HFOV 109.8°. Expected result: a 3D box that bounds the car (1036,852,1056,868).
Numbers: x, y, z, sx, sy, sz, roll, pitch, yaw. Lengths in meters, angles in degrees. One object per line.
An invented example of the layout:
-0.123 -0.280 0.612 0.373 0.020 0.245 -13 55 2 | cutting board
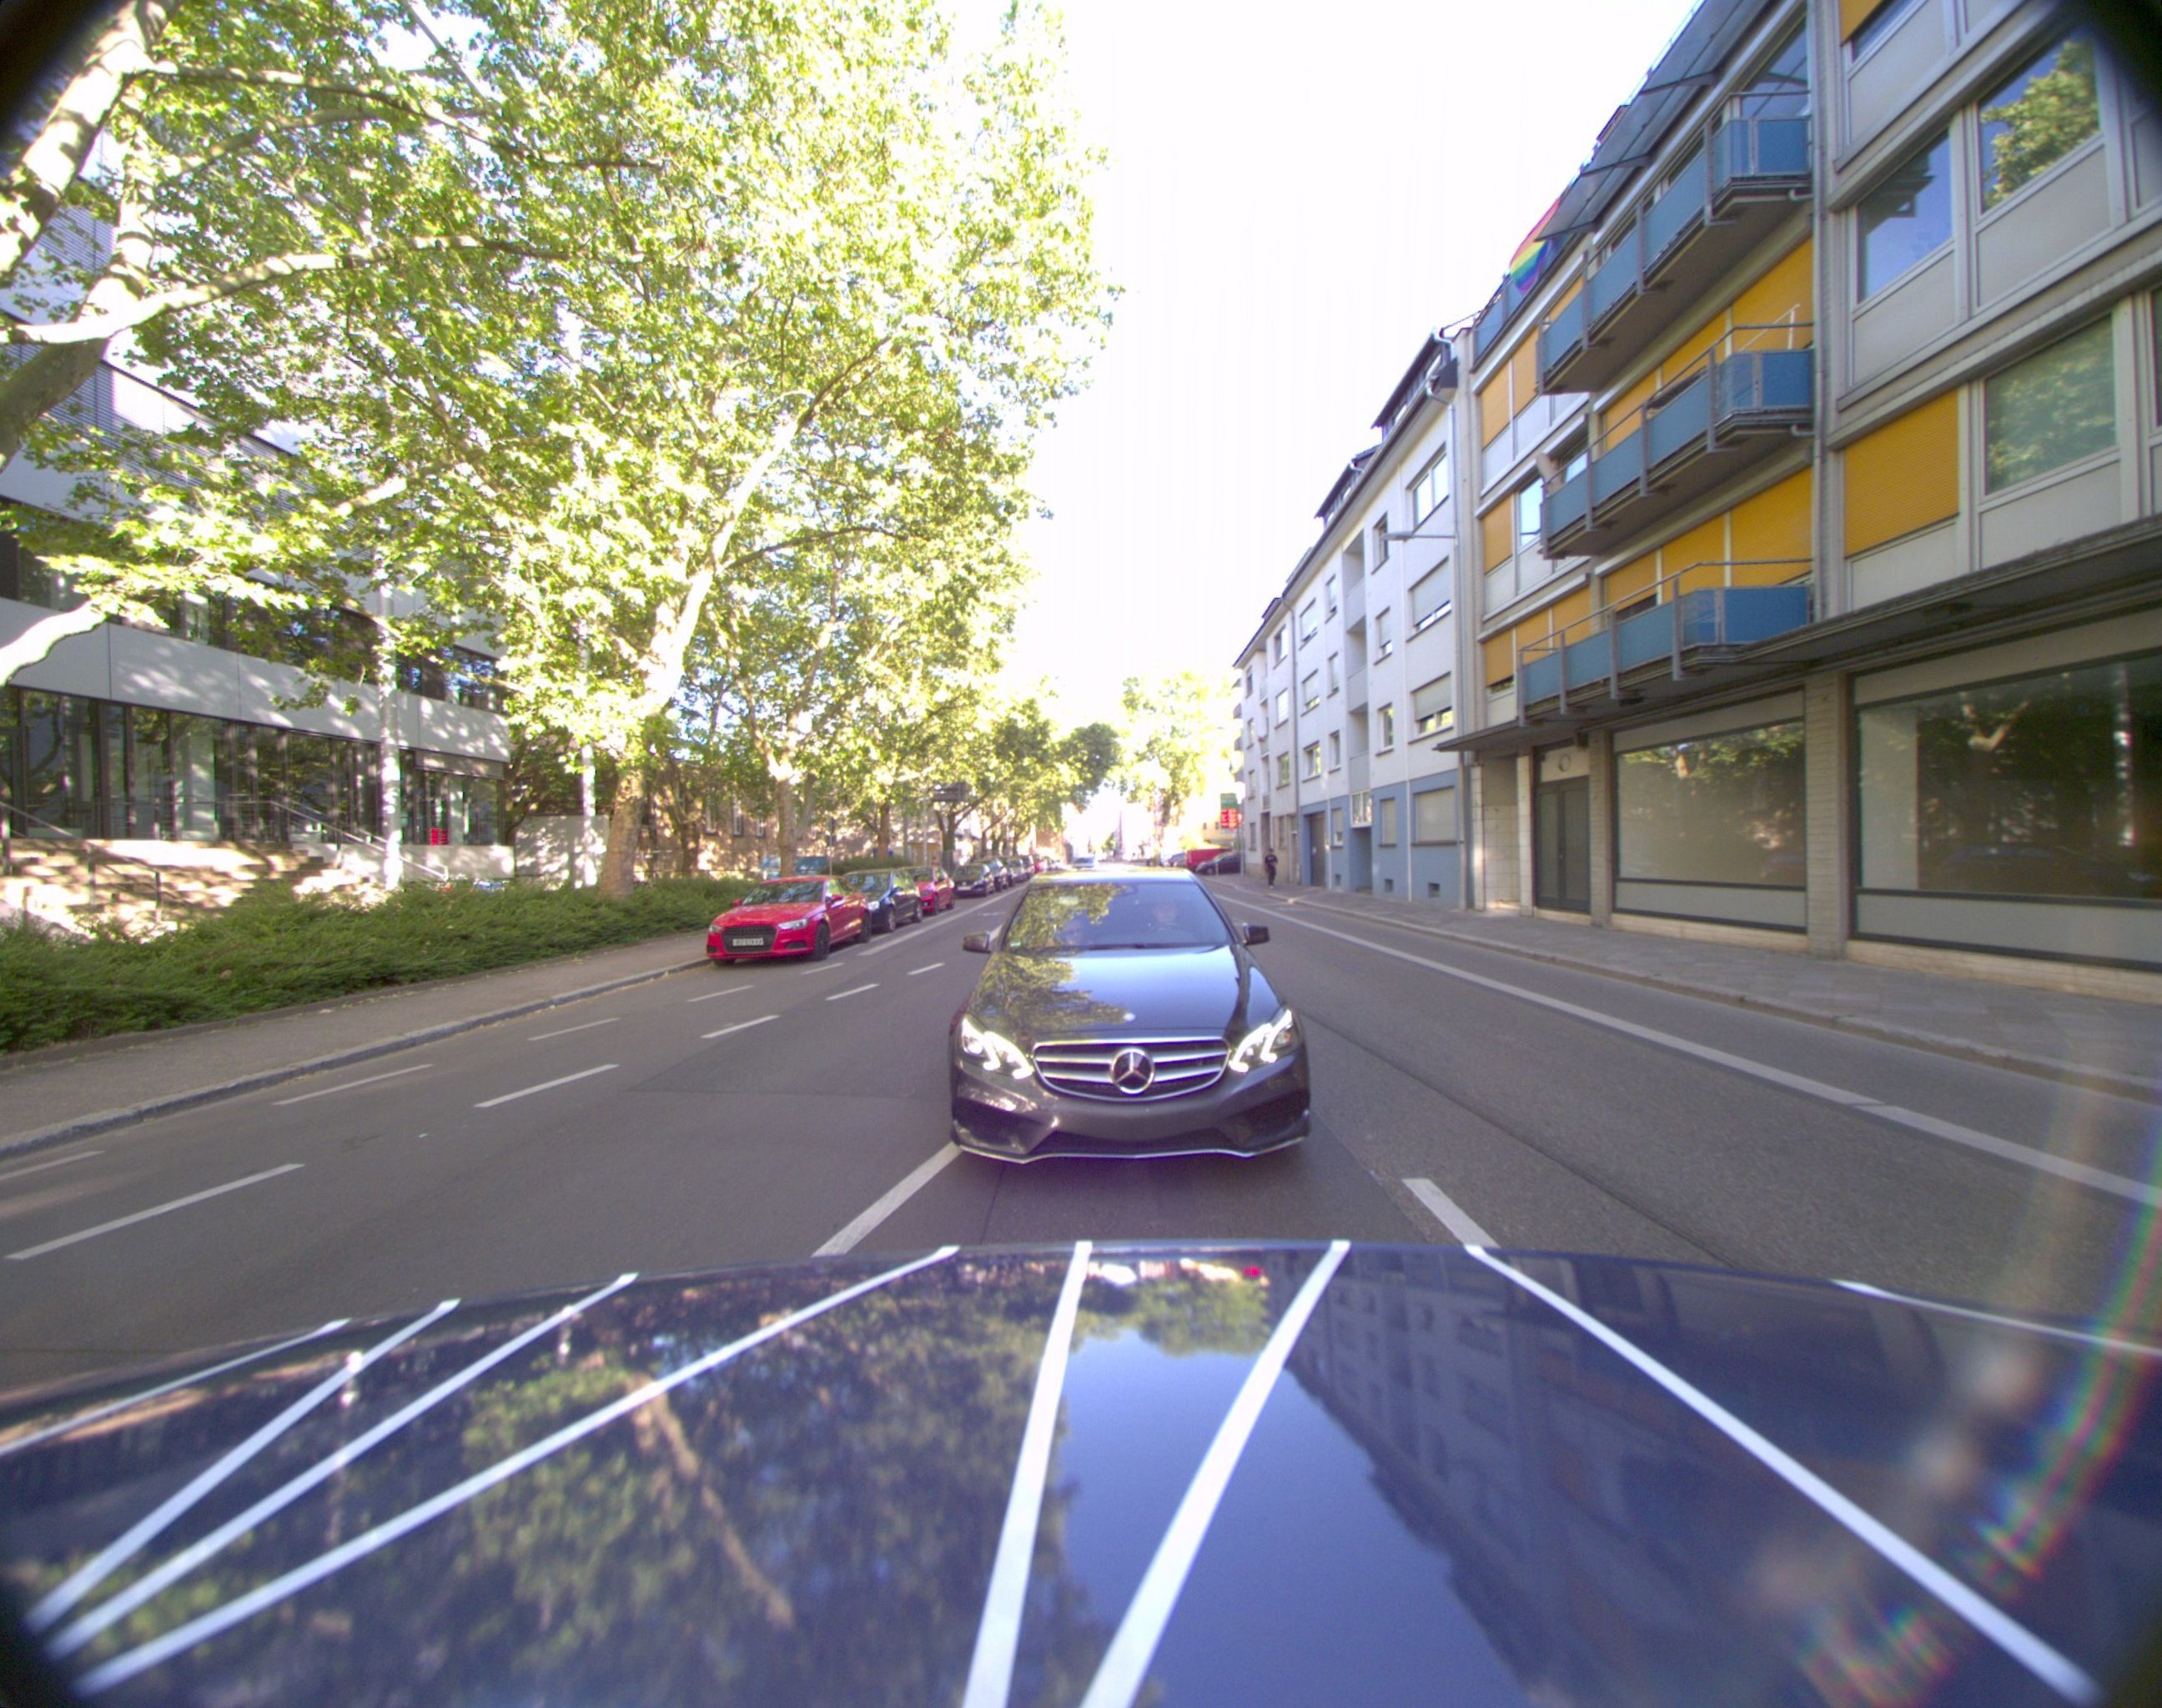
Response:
-3.950 0.658 86.244 1.835 1.667 4.259 -2 0 1 | car

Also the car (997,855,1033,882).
-4.346 0.940 50.626 1.835 1.604 4.259 -2 0 1 | car

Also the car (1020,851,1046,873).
-4.155 0.674 66.365 1.835 1.839 4.259 -2 0 1 | car

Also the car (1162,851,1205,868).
10.593 0.529 78.670 4.255 1.461 1.653 -4 0 1 | car

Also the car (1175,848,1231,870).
10.043 0.398 62.730 4.255 1.461 1.653 -4 0 1 | car

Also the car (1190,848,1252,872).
10.475 0.446 57.068 4.255 1.461 1.653 -4 0 1 | car

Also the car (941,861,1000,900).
-4.752 1.099 33.195 1.835 1.459 4.168 -2 0 1 | car

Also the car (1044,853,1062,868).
-3.423 0.776 92.860 1.835 1.667 4.259 -2 0 1 | car

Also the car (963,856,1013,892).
-4.604 0.959 38.093 1.835 1.596 4.161 -2 0 1 | car

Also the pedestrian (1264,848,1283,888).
8.343 0.591 32.900 0.612 1.685 0.655 -2 1 1 | pedestrian

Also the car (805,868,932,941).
-5.046 1.147 18.648 1.835 1.438 4.168 -2 0 1 | car

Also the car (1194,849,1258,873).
10.391 0.509 54.767 4.255 1.392 1.653 -4 0 1 | car

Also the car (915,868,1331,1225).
0.220 0.914 5.590 1.849 1.490 4.302 -1 0 1 | car

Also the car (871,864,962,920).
-5.048 1.130 23.858 1.835 1.459 4.168 -2 0 1 | car

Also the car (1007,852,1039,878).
-4.188 0.805 55.657 1.835 1.750 4.259 -2 0 1 | car

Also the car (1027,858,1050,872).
-4.000 1.018 71.806 1.835 1.220 4.259 -2 0 1 | car

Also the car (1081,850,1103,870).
1.019 0.552 70.205 1.908 1.678 4.812 -2 0 1 | car

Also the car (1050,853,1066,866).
-3.059 0.674 102.967 1.835 1.667 4.259 -2 0 1 | car

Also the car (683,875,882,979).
-5.135 1.174 13.788 1.835 1.396 4.247 -2 0 1 | car

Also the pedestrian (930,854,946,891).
-7.073 0.915 37.647 0.601 1.785 0.593 -2 1 0 | pedestrian

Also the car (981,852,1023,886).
-4.517 0.816 44.132 1.835 1.787 4.462 -2 0 1 | car

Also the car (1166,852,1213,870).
10.423 0.663 73.211 4.255 1.461 1.653 -4 0 1 | car

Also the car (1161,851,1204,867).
10.764 0.503 80.634 4.255 1.461 1.653 -4 0 1 | car

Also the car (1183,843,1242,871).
10.406 0.213 60.148 4.255 1.907 1.818 -4 0 0 | car

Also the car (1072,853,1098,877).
0.290 0.726 53.044 1.726 1.530 4.000 -1 0 1 | car

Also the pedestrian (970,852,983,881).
-6.670 0.792 48.496 0.660 1.849 0.641 -2 1 1 | pedestrian
